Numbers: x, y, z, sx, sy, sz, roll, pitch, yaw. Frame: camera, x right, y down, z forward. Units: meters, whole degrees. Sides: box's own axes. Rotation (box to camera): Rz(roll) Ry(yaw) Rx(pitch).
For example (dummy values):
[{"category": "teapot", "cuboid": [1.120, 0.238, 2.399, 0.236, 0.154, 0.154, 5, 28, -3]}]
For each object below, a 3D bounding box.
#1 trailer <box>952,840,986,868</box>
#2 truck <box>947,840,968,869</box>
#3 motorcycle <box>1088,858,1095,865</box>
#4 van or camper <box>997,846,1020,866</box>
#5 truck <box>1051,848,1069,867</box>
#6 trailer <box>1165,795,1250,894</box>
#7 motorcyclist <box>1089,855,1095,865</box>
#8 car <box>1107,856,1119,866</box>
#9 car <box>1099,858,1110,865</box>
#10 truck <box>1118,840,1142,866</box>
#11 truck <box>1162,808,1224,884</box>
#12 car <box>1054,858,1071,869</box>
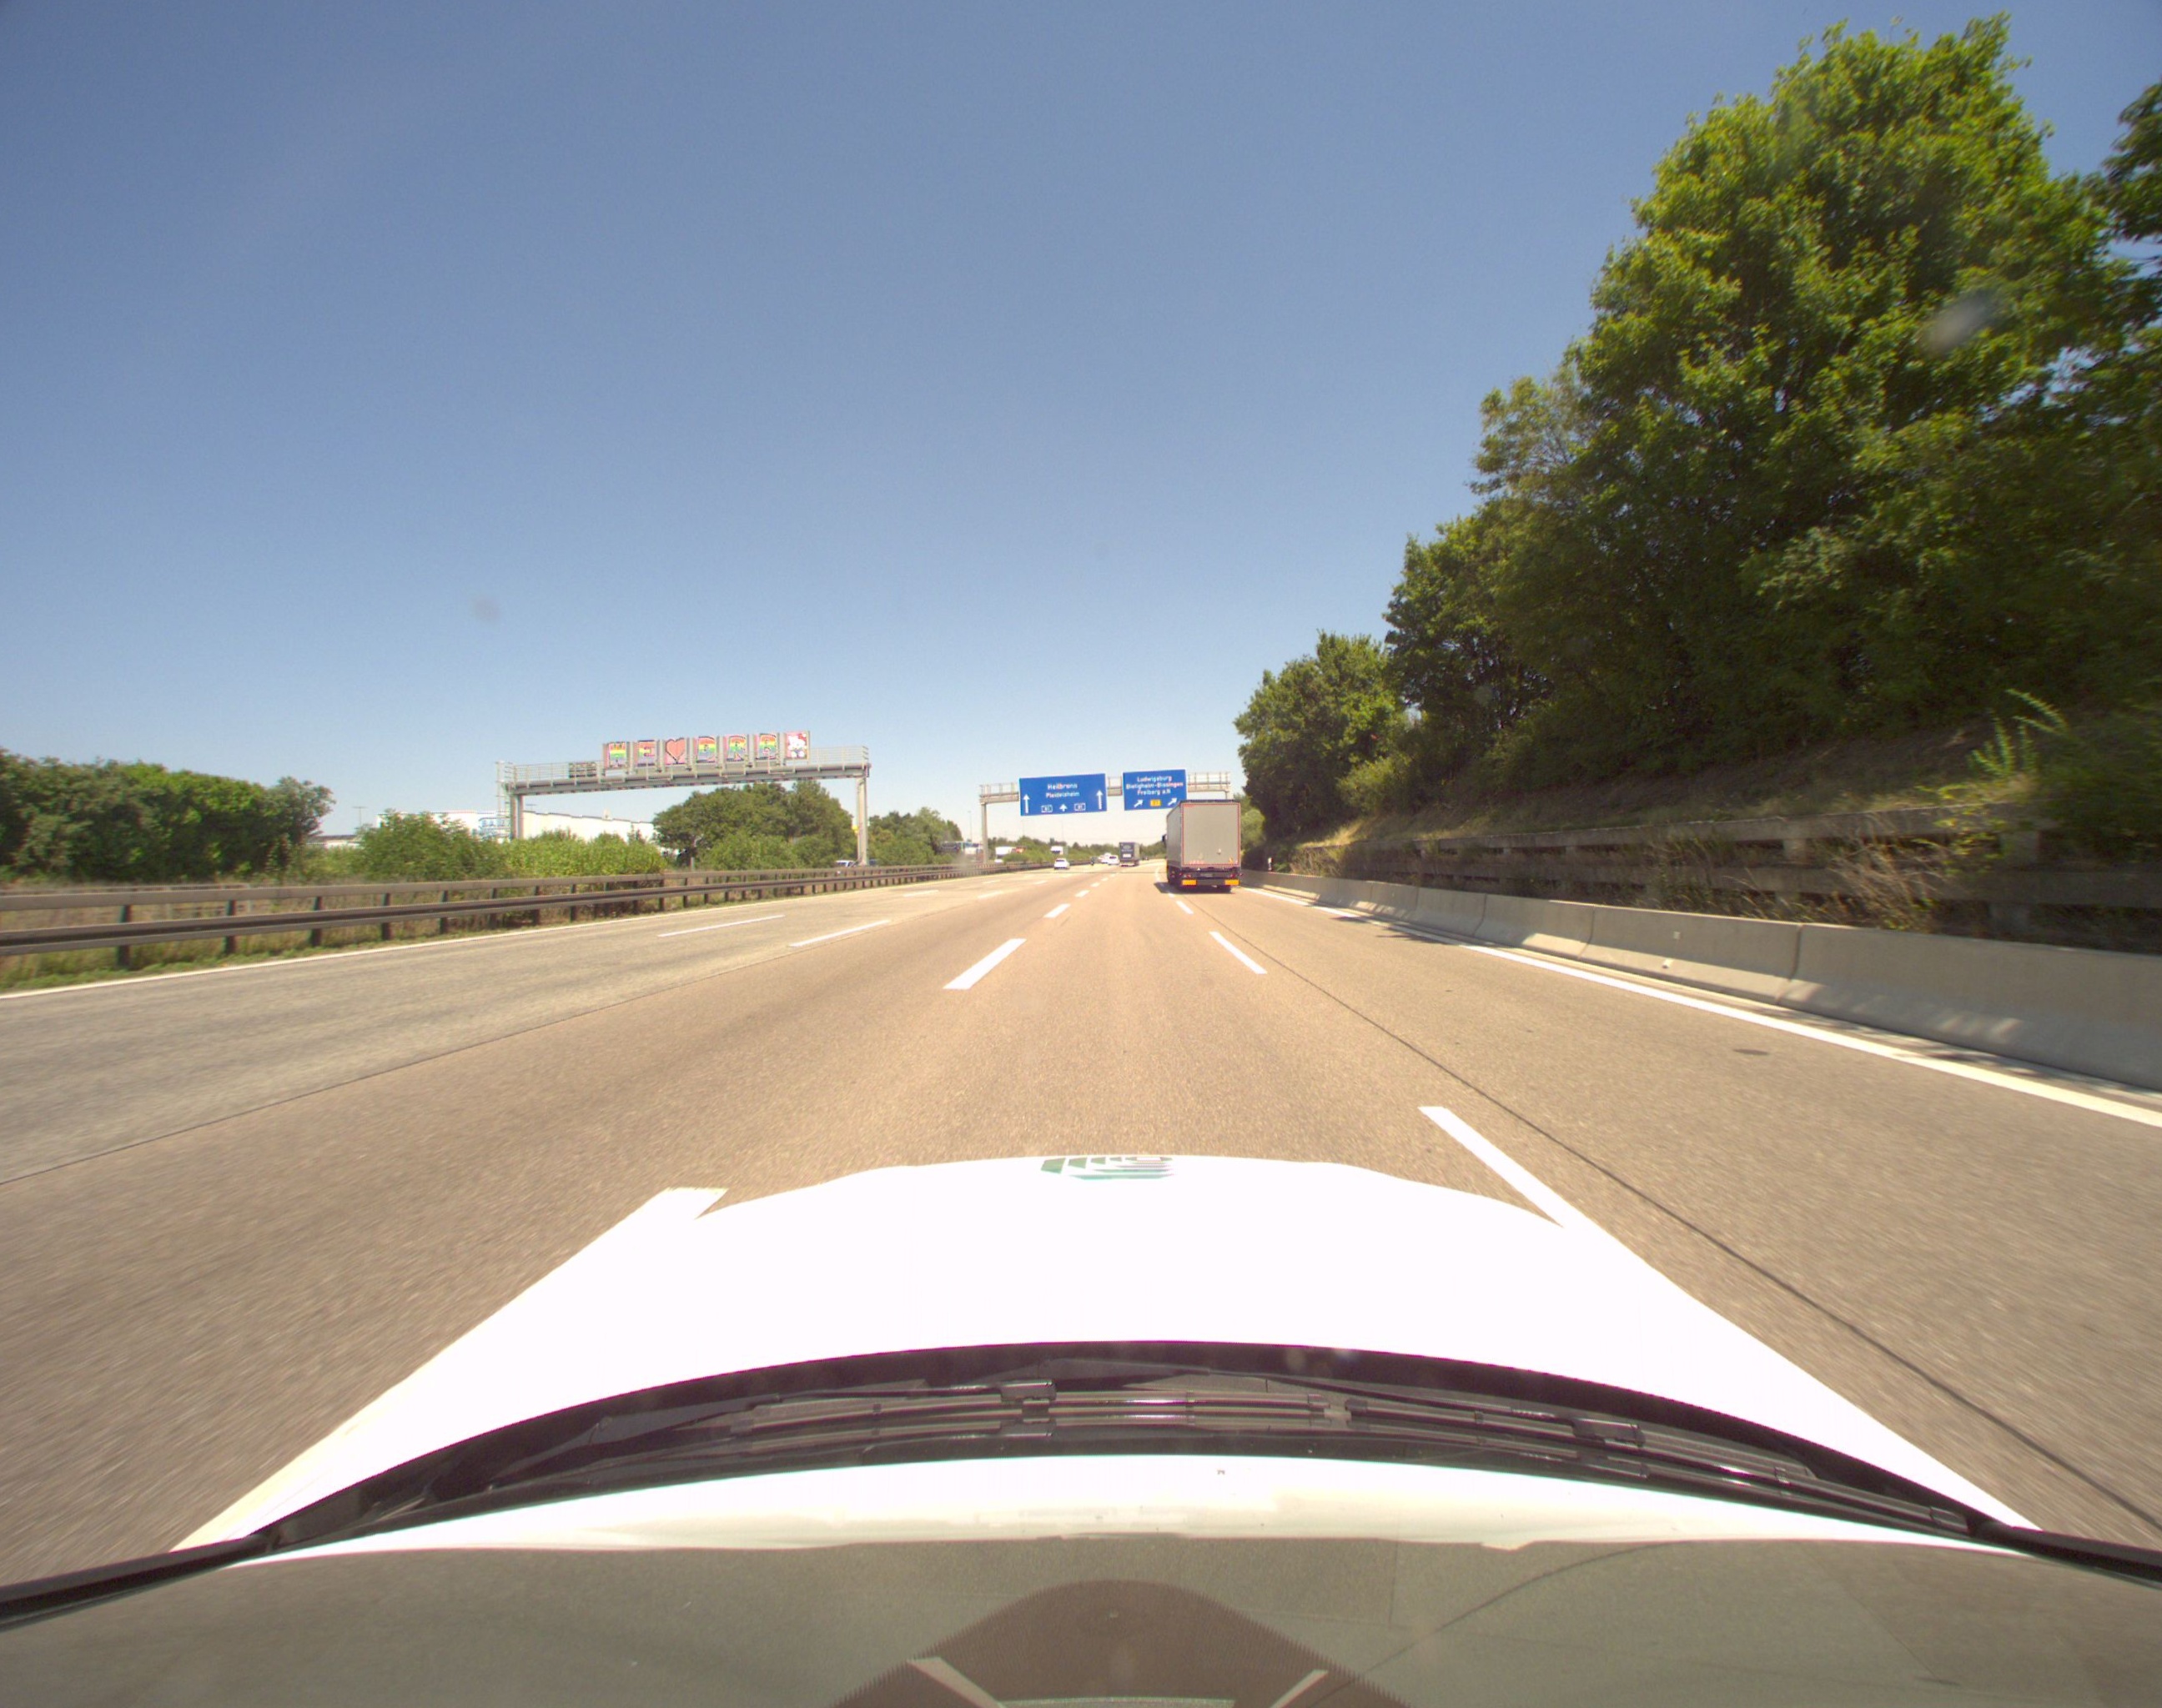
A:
[{"category": "trailer", "cuboid": [-16.625, 0.081, 121.698, 1.984, 3.922, 14.021, 0, 0, 5]}, {"category": "truck", "cuboid": [-17.295, 0.061, 114.235, 1.984, 3.897, 4.347, 0, 0, 5]}, {"category": "motorcycle", "cuboid": [1.890, 1.339, 144.554, 0.908, 1.089, 2.853, -1, 0, 5]}, {"category": "van or camper", "cuboid": [-11.737, 0.356, 132.120, 2.463, 3.220, 7.832, 0, 0, 5]}, {"category": "truck", "cuboid": [-4.731, 0.761, 185.997, 2.739, 4.208, 10.420, 0, 0, 6]}, {"category": "trailer", "cuboid": [5.895, -0.440, 39.946, 2.915, 4.015, 12.050, -2, 0, 4]}, {"category": "motorcyclist", "cuboid": [1.886, 1.080, 144.579, 0.889, 1.597, 1.301, -1, 0, 5]}, {"category": "car", "cuboid": [6.122, 1.283, 154.311, 1.921, 1.852, 4.699, -2, -1, 6]}, {"category": "car", "cuboid": [5.085, 1.636, 174.789, 1.867, 1.441, 5.133, -1, -2, 6]}, {"category": "truck", "cuboid": [8.583, -0.123, 140.363, 3.729, 4.270, 14.515, 0, 0, 5]}, {"category": "truck", "cuboid": [6.427, -0.479, 47.805, 2.915, 4.015, 7.591, -2, 0, 4]}, {"category": "car", "cuboid": [-2.420, 1.246, 108.839, 1.773, 1.440, 4.675, -1, -1, 5]}]
